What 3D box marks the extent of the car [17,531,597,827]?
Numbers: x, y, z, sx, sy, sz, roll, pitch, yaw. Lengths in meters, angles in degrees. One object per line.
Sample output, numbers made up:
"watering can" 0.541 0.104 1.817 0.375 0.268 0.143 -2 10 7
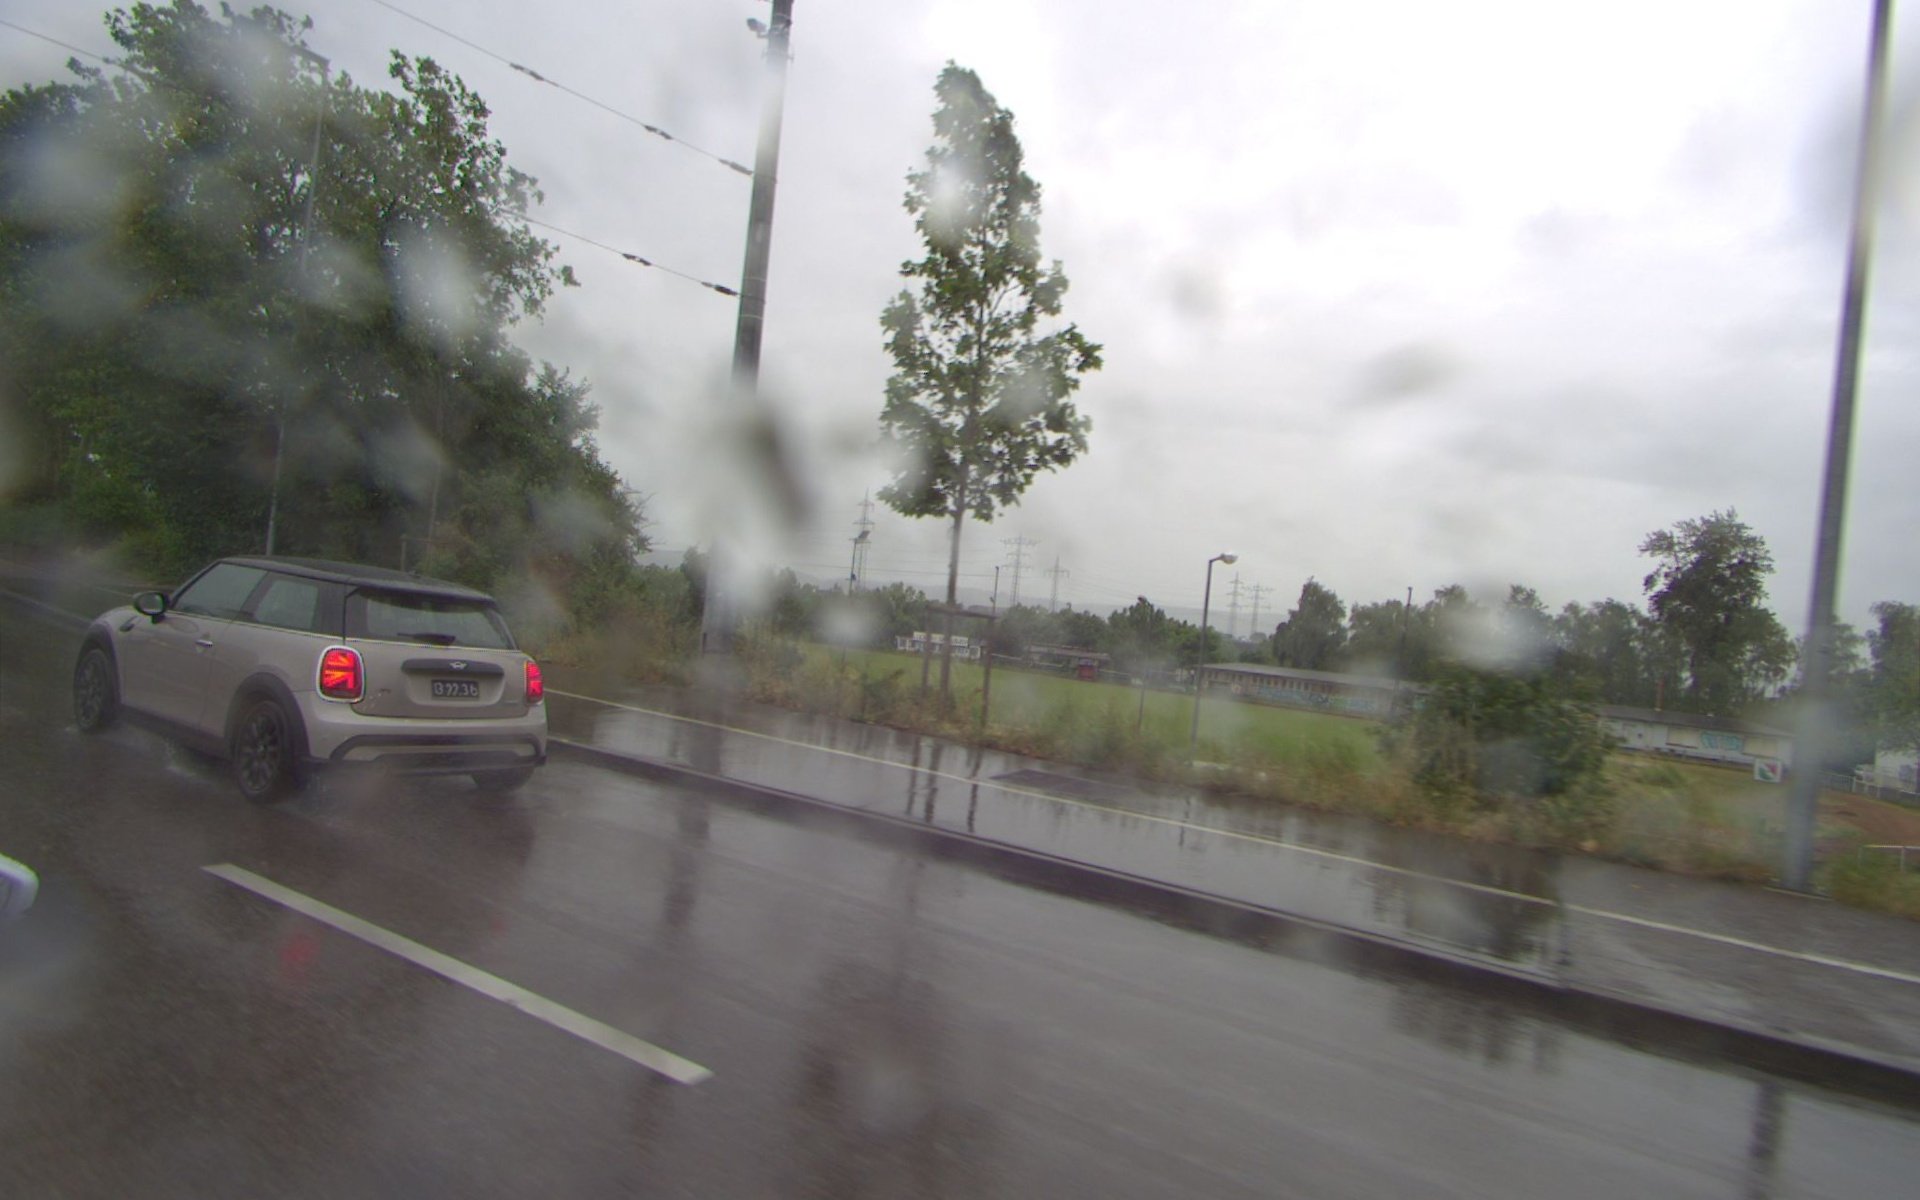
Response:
"car" -4.648 0.443 7.097 3.789 1.430 1.795 5 -2 30
